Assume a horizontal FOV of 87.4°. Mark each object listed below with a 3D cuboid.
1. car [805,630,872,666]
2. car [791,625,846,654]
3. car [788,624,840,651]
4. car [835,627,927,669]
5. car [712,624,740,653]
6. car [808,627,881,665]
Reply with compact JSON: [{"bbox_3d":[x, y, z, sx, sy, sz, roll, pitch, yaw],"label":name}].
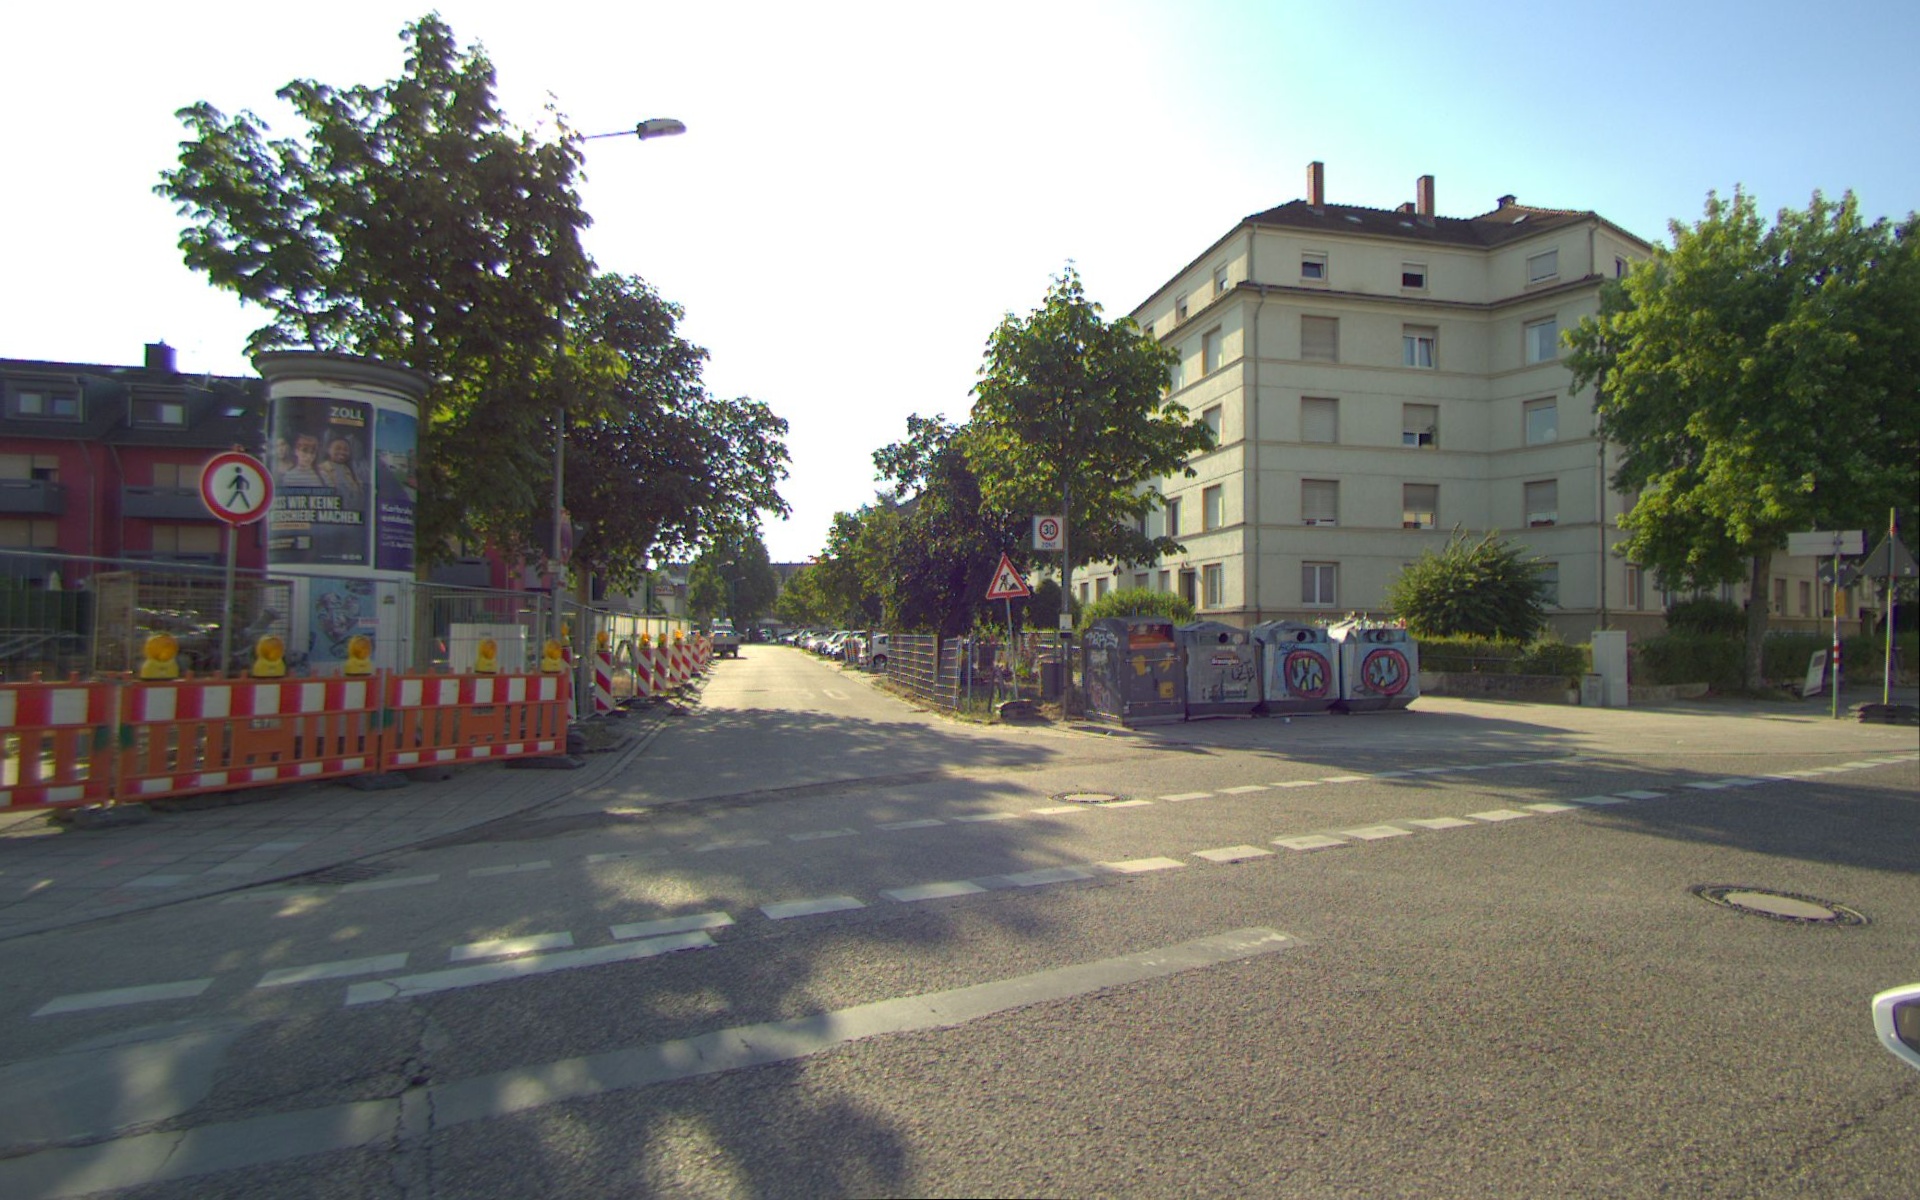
[{"bbox_3d":[-7.796,3.063,64.290,3.936,2.040,1.993,3,0,-17],"label":"car"},{"bbox_3d":[-11.013,3.083,78.040,3.936,2.040,1.993,3,0,-17],"label":"car"},{"bbox_3d":[-12.147,3.079,83.450,3.936,2.040,1.993,3,0,-17],"label":"car"},{"bbox_3d":[-3.666,2.212,46.464,3.932,1.684,1.995,3,0,-13],"label":"car"},{"bbox_3d":[-13.869,2.242,59.514,1.466,1.528,3.145,2,0,-15],"label":"car"},{"bbox_3d":[-6.815,2.705,59.024,3.936,2.040,1.993,3,0,-17],"label":"car"}]
